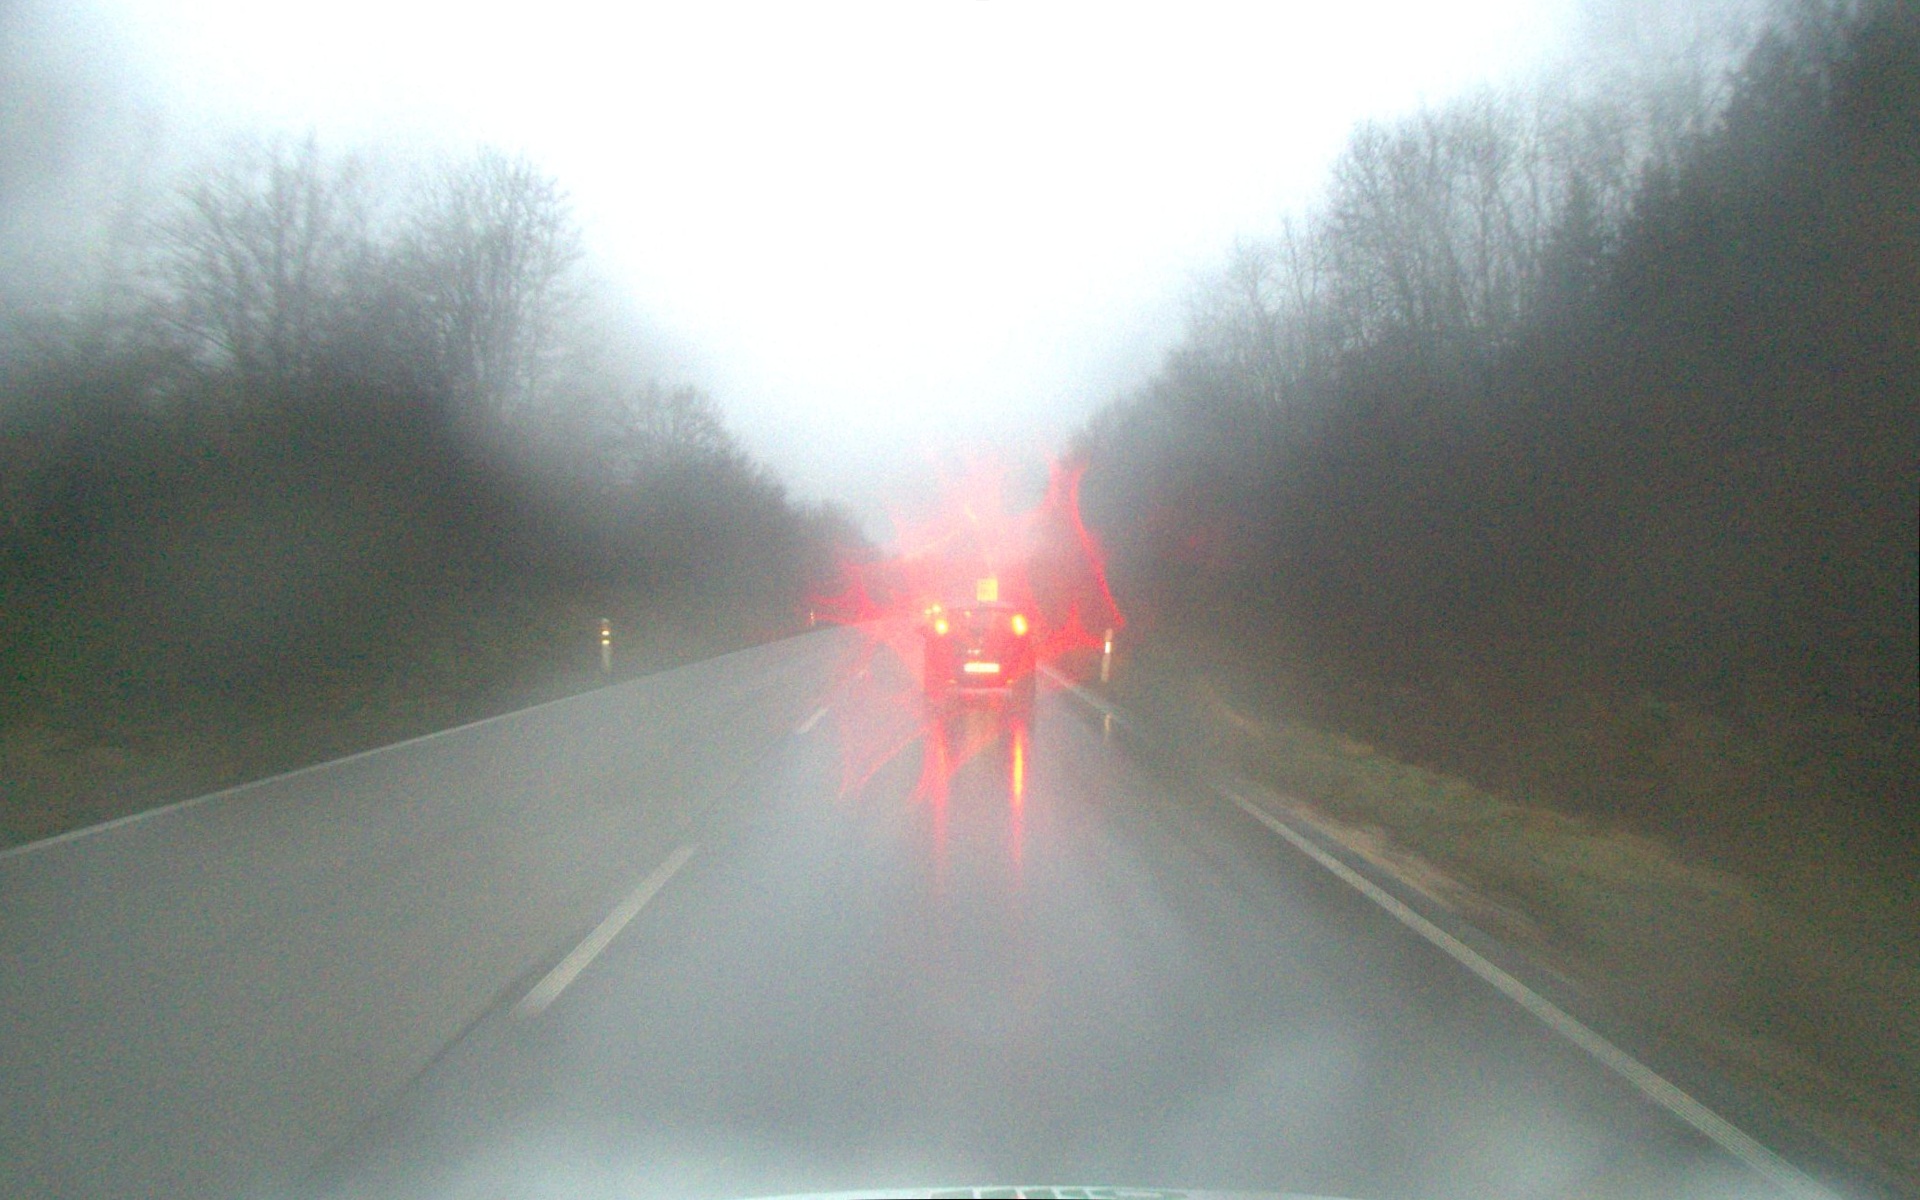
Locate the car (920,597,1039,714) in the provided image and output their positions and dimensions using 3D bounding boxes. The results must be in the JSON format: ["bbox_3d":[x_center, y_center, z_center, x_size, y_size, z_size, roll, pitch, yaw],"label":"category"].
[{"bbox_3d":[0.296,0.805,25.667,1.692,1.672,4.000,0,0,0],"label":"car"}]

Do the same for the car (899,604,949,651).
[{"bbox_3d":[-1.282,0.984,60.534,1.692,1.672,4.000,0,0,0],"label":"car"}]
